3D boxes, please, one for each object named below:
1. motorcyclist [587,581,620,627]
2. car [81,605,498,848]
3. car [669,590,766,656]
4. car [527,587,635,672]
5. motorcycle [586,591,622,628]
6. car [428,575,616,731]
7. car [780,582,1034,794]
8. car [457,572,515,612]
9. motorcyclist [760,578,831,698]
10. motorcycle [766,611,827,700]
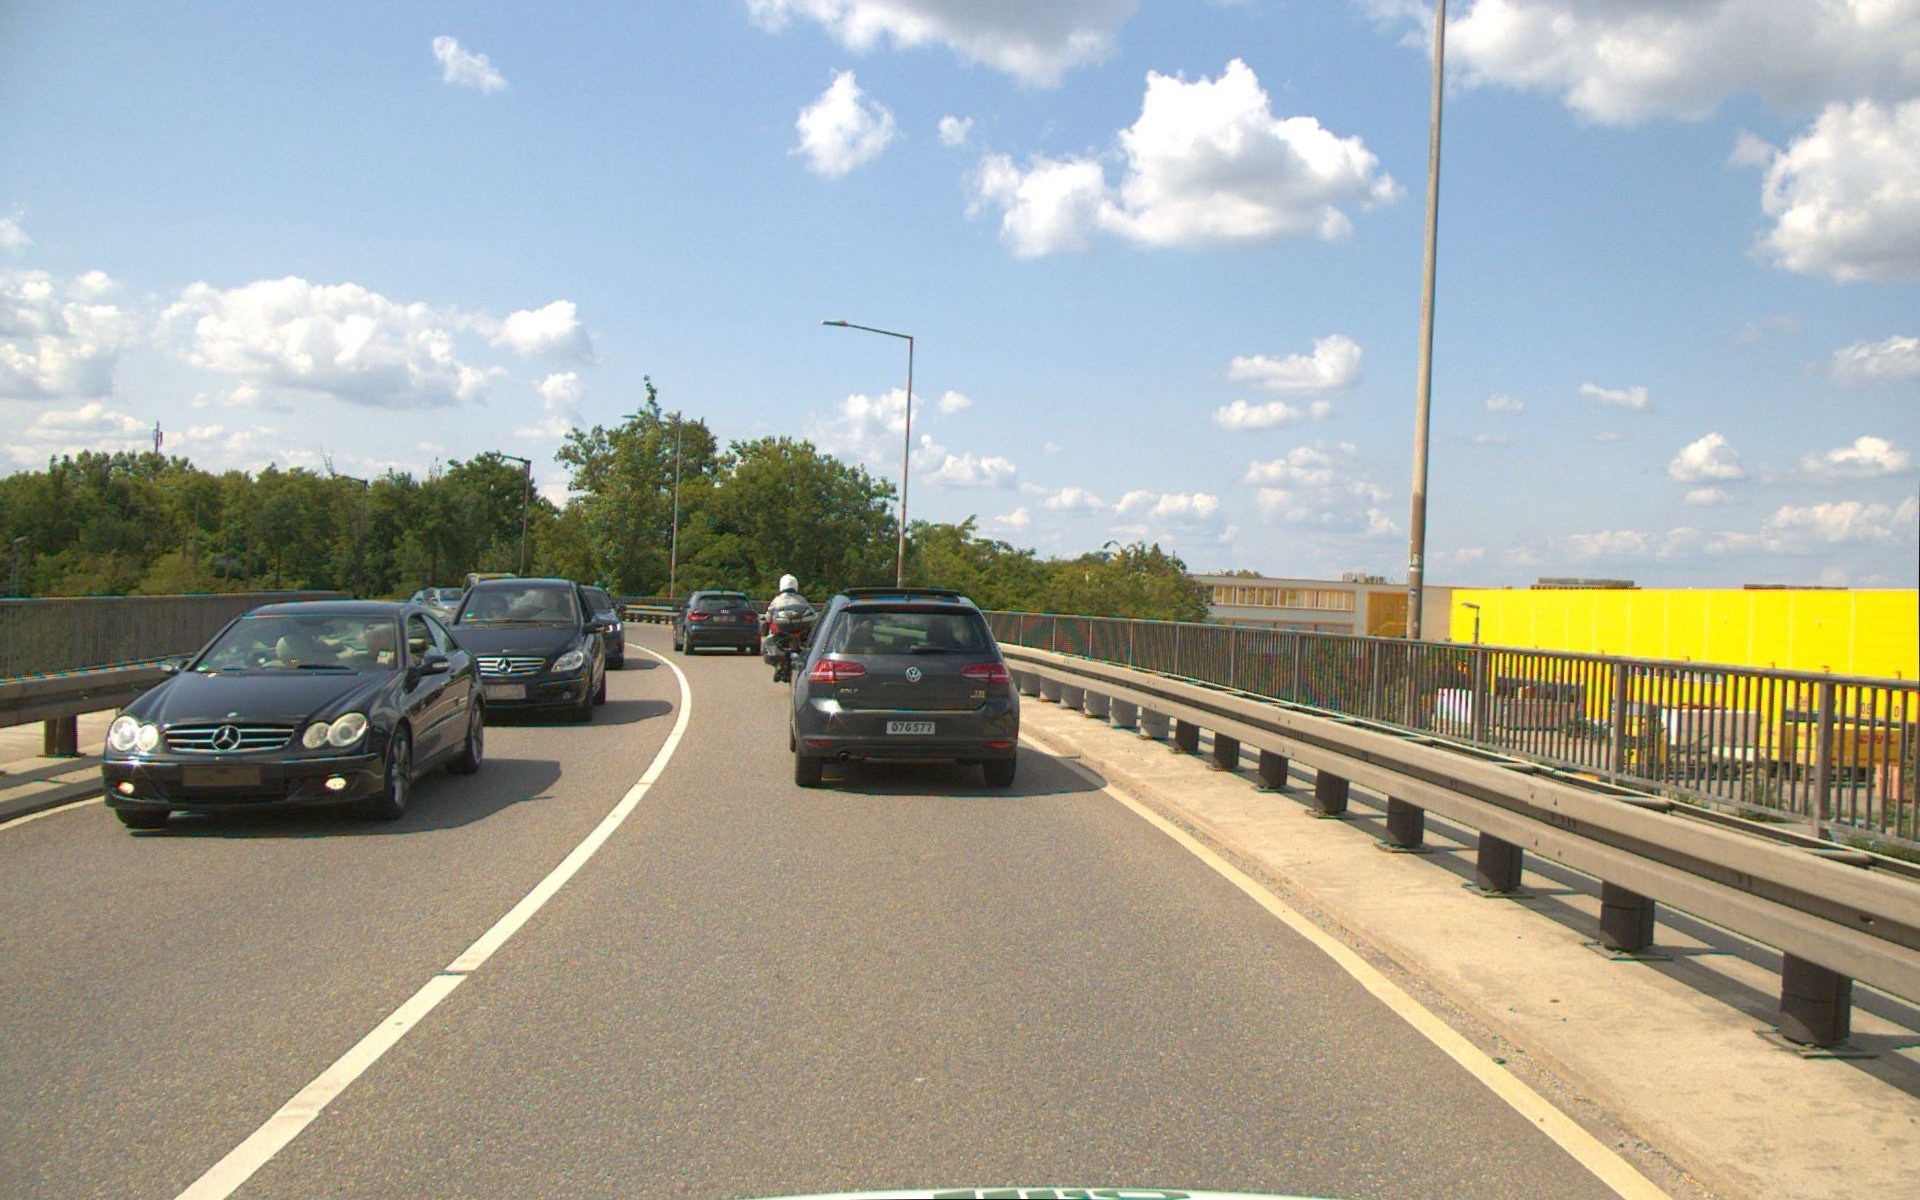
[{"bbox_3d":[-12.887,0.144,59.726,0.953,1.624,1.117,1,0,-23],"label":"motorcyclist"},{"bbox_3d":[-4.470,0.734,11.714,1.600,1.368,4.247,-1,0,-6],"label":"car"},{"bbox_3d":[-5.577,0.530,37.699,1.655,1.412,3.721,1,-1,-17],"label":"car"},{"bbox_3d":[-7.227,0.510,31.276,1.845,1.467,3.871,-1,1,-15],"label":"car"},{"bbox_3d":[-12.843,0.330,59.589,0.875,1.269,2.383,1,0,-22],"label":"motorcycle"},{"bbox_3d":[-5.067,0.537,19.603,1.652,1.624,4.275,-1,0,-8],"label":"car"},{"bbox_3d":[-0.577,0.638,13.820,1.612,1.504,3.863,1,0,-10],"label":"car"},{"bbox_3d":[-17.746,-0.288,61.863,1.849,1.426,3.864,-1,1,-19],"label":"car"},{"bbox_3d":[-2.346,0.530,23.526,0.947,1.648,1.123,1,0,-7],"label":"motorcyclist"},{"bbox_3d":[-2.325,0.749,23.335,0.774,1.151,2.395,1,0,-7],"label":"motorcycle"}]
